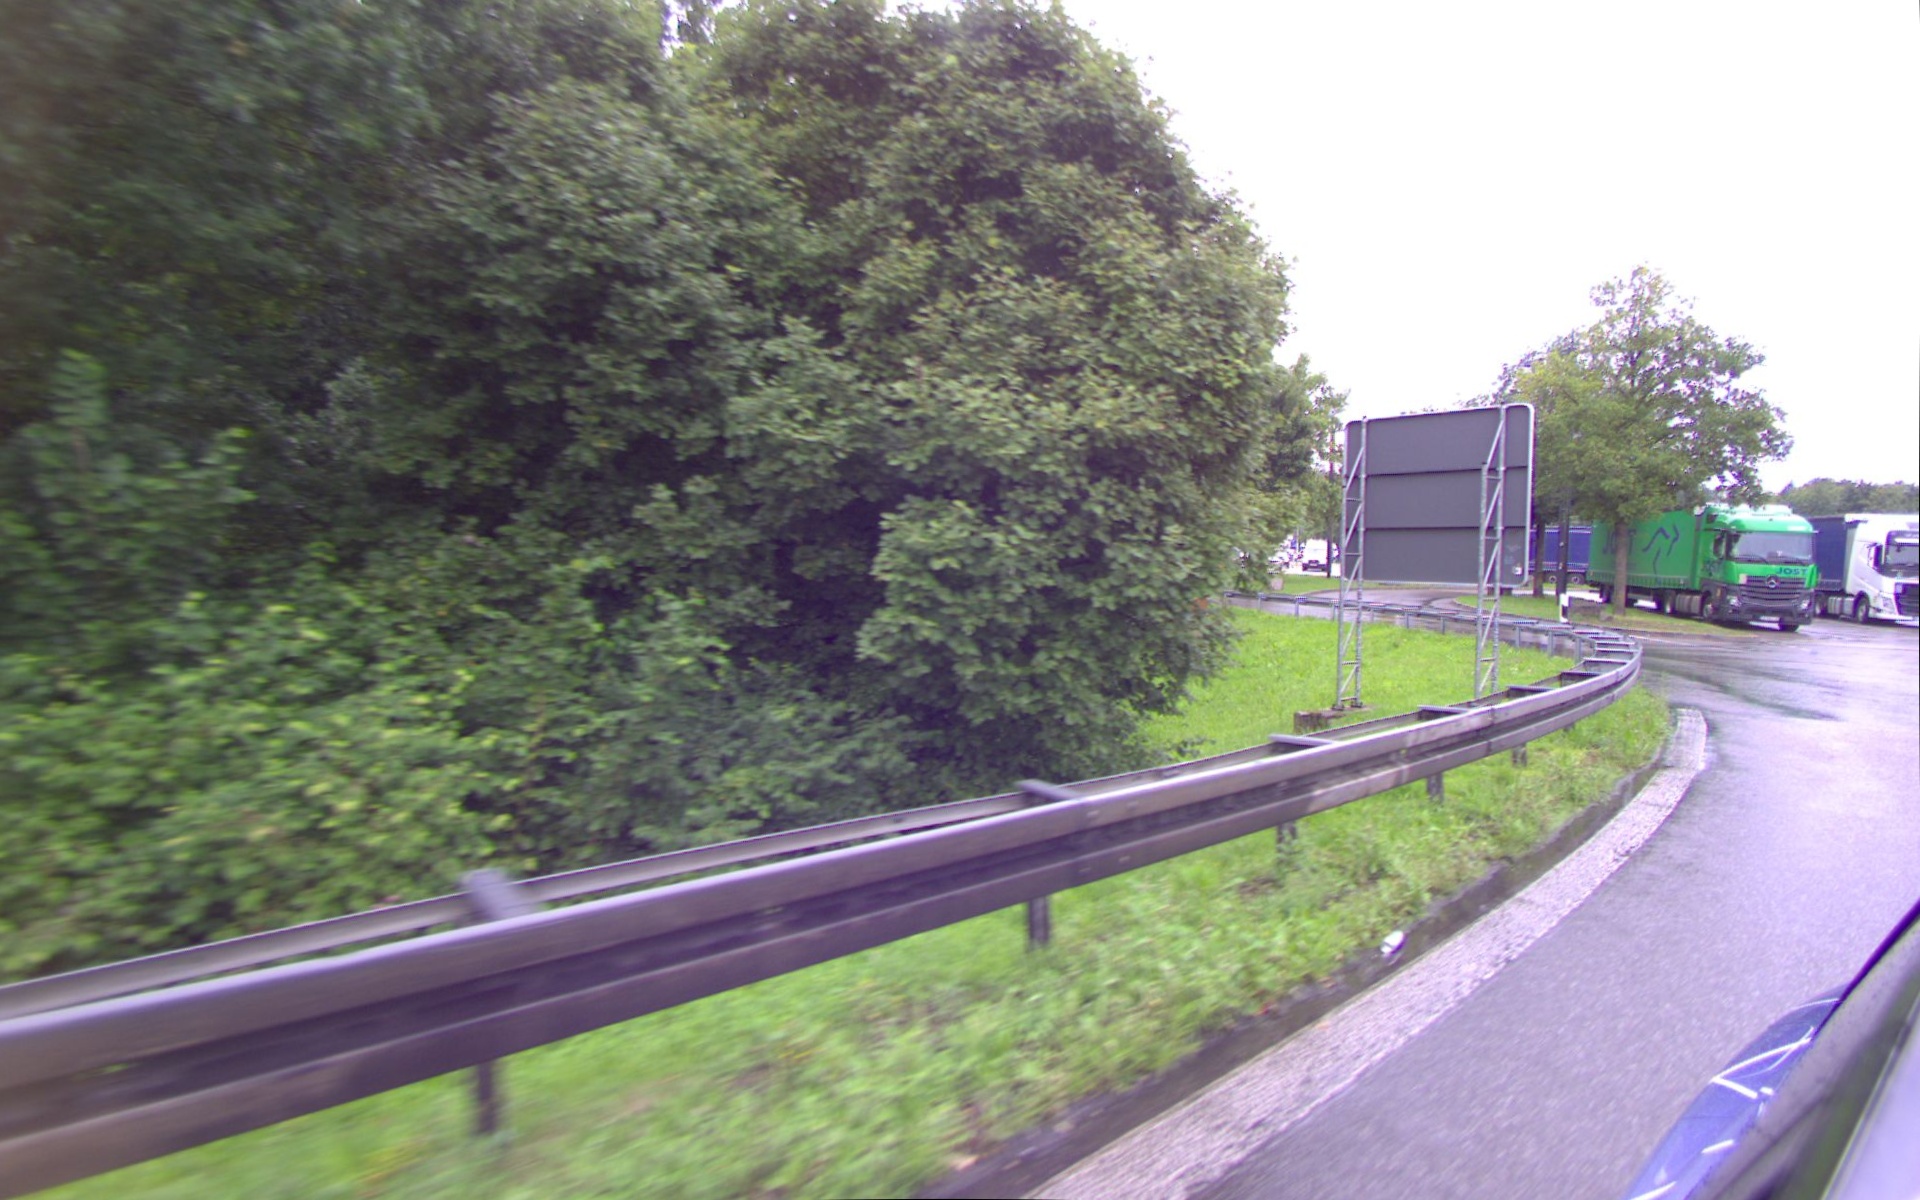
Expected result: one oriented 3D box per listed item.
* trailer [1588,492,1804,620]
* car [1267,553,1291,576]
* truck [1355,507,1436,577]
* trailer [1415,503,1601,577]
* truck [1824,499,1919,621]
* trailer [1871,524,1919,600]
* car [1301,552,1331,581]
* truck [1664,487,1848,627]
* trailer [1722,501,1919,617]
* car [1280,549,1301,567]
[{"bbox_3d":[28.505,-1.853,40.251,2.791,4.199,13.888,2,4,19],"label":"trailer"},{"bbox_3d":[27.202,-2.998,86.439,1.759,1.905,3.981,0,0,15],"label":"car"},{"bbox_3d":[30.390,-3.972,70.806,5.016,4.609,3.415,0,0,21],"label":"truck"},{"bbox_3d":[36.680,-3.937,68.368,10.609,4.609,3.415,0,0,21],"label":"trailer"},{"bbox_3d":[34.928,-1.481,37.316,2.793,4.195,5.269,3,4,21],"label":"truck"},{"bbox_3d":[50.951,-1.834,50.616,2.810,3.966,13.869,3,4,20],"label":"trailer"},{"bbox_3d":[32.003,-3.037,91.161,1.970,2.543,4.722,2,3,13],"label":"car"},{"bbox_3d":[26.225,-1.486,33.750,2.791,4.199,5.964,2,4,19],"label":"truck"},{"bbox_3d":[37.453,-1.877,44.062,2.793,4.221,13.906,3,4,20],"label":"trailer"},{"bbox_3d":[32.682,-4.117,100.183,1.802,1.697,3.981,0,0,15],"label":"car"}]
